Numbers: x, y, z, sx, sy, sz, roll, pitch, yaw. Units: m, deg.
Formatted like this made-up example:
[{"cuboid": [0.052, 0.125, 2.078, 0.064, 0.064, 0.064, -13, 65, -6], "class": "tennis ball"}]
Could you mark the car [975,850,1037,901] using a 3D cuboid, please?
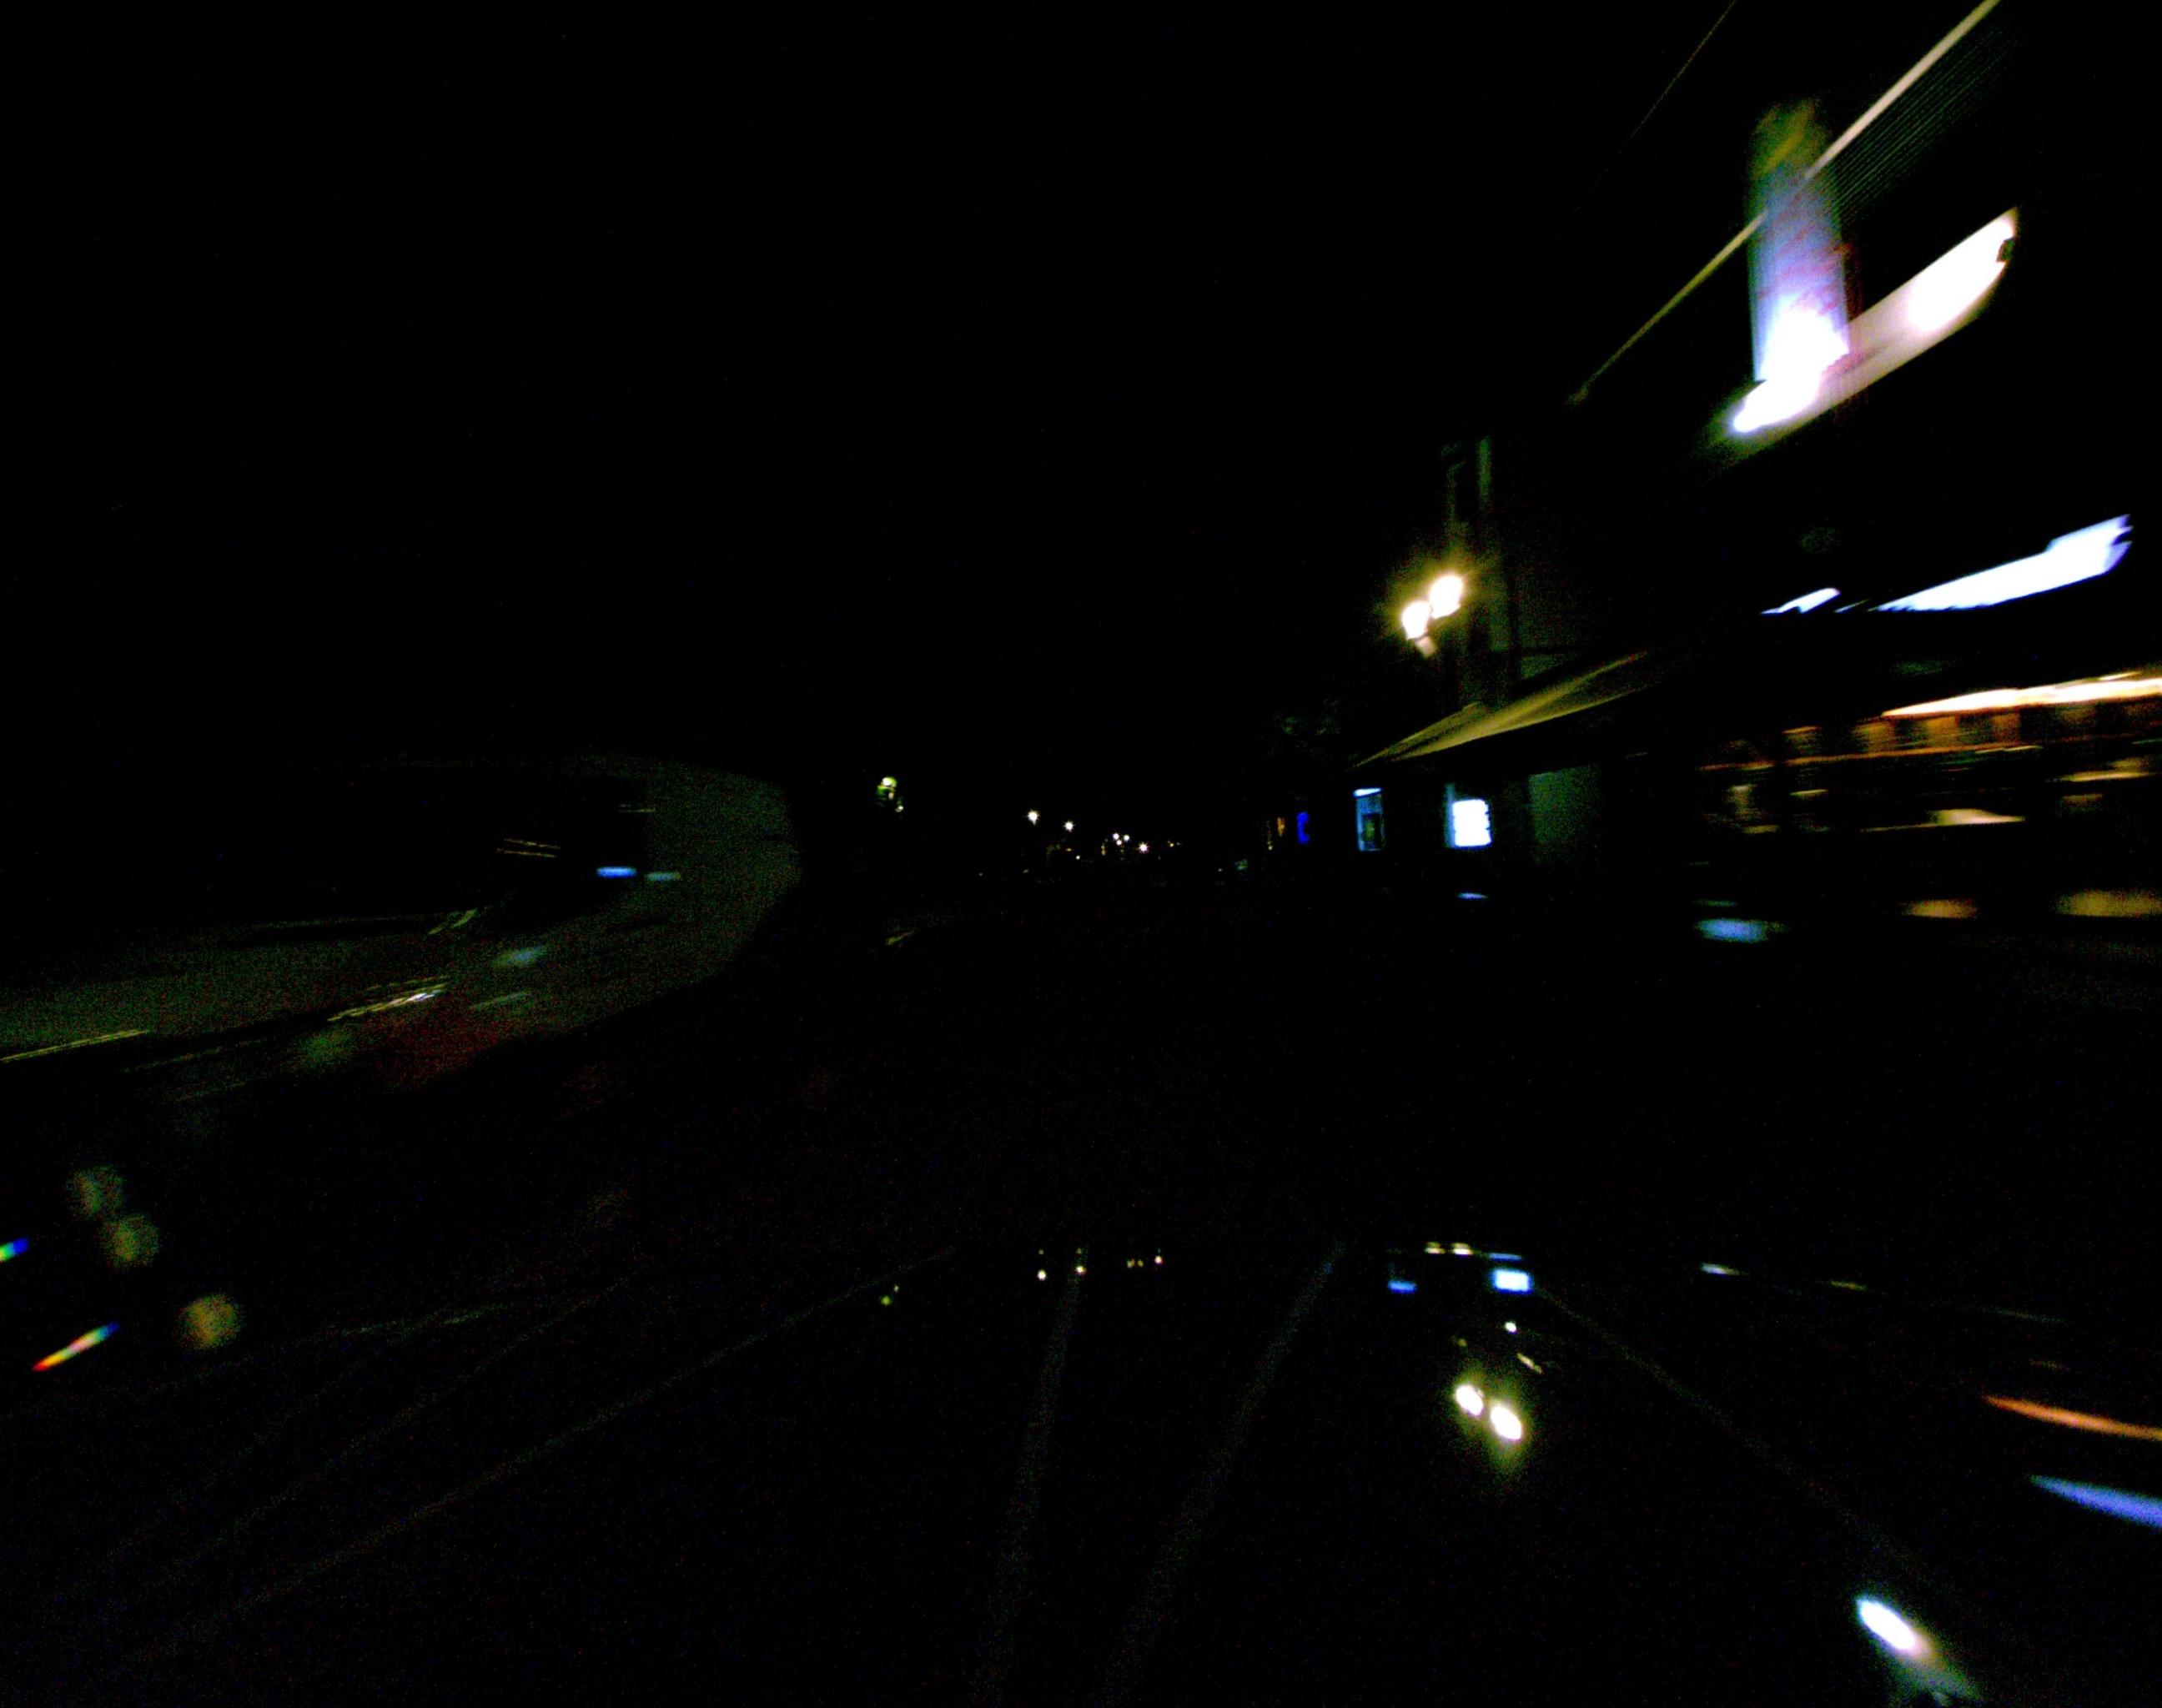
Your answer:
[{"cuboid": [-2.950, 0.816, 30.818, 1.912, 1.792, 4.936, -4, 0, 0], "class": "car"}]

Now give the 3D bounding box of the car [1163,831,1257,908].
[{"cuboid": [3.842, 0.429, 23.568, 1.929, 1.953, 5.076, -5, 0, 0], "class": "car"}]

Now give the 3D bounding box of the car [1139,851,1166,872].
[{"cuboid": [5.721, 0.559, 61.085, 1.795, 1.496, 4.000, -5, 0, 1], "class": "car"}]

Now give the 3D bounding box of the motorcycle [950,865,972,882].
[{"cuboid": [-9.990, 1.631, 63.192, 1.725, 1.244, 0.433, -4, 1, -7], "class": "motorcycle"}]

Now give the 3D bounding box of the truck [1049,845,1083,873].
[{"cuboid": [-1.208, 0.415, 66.425, 2.109, 2.230, 6.290, -4, 0, 6], "class": "truck"}]

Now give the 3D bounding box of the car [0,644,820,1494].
[{"cuboid": [-3.613, 0.648, 4.655, 2.140, 2.313, 5.151, -4, 0, -1], "class": "car"}]

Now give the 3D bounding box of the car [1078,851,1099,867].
[{"cuboid": [0.827, 0.494, 81.244, 1.737, 1.492, 4.002, -4, 0, 6], "class": "car"}]
